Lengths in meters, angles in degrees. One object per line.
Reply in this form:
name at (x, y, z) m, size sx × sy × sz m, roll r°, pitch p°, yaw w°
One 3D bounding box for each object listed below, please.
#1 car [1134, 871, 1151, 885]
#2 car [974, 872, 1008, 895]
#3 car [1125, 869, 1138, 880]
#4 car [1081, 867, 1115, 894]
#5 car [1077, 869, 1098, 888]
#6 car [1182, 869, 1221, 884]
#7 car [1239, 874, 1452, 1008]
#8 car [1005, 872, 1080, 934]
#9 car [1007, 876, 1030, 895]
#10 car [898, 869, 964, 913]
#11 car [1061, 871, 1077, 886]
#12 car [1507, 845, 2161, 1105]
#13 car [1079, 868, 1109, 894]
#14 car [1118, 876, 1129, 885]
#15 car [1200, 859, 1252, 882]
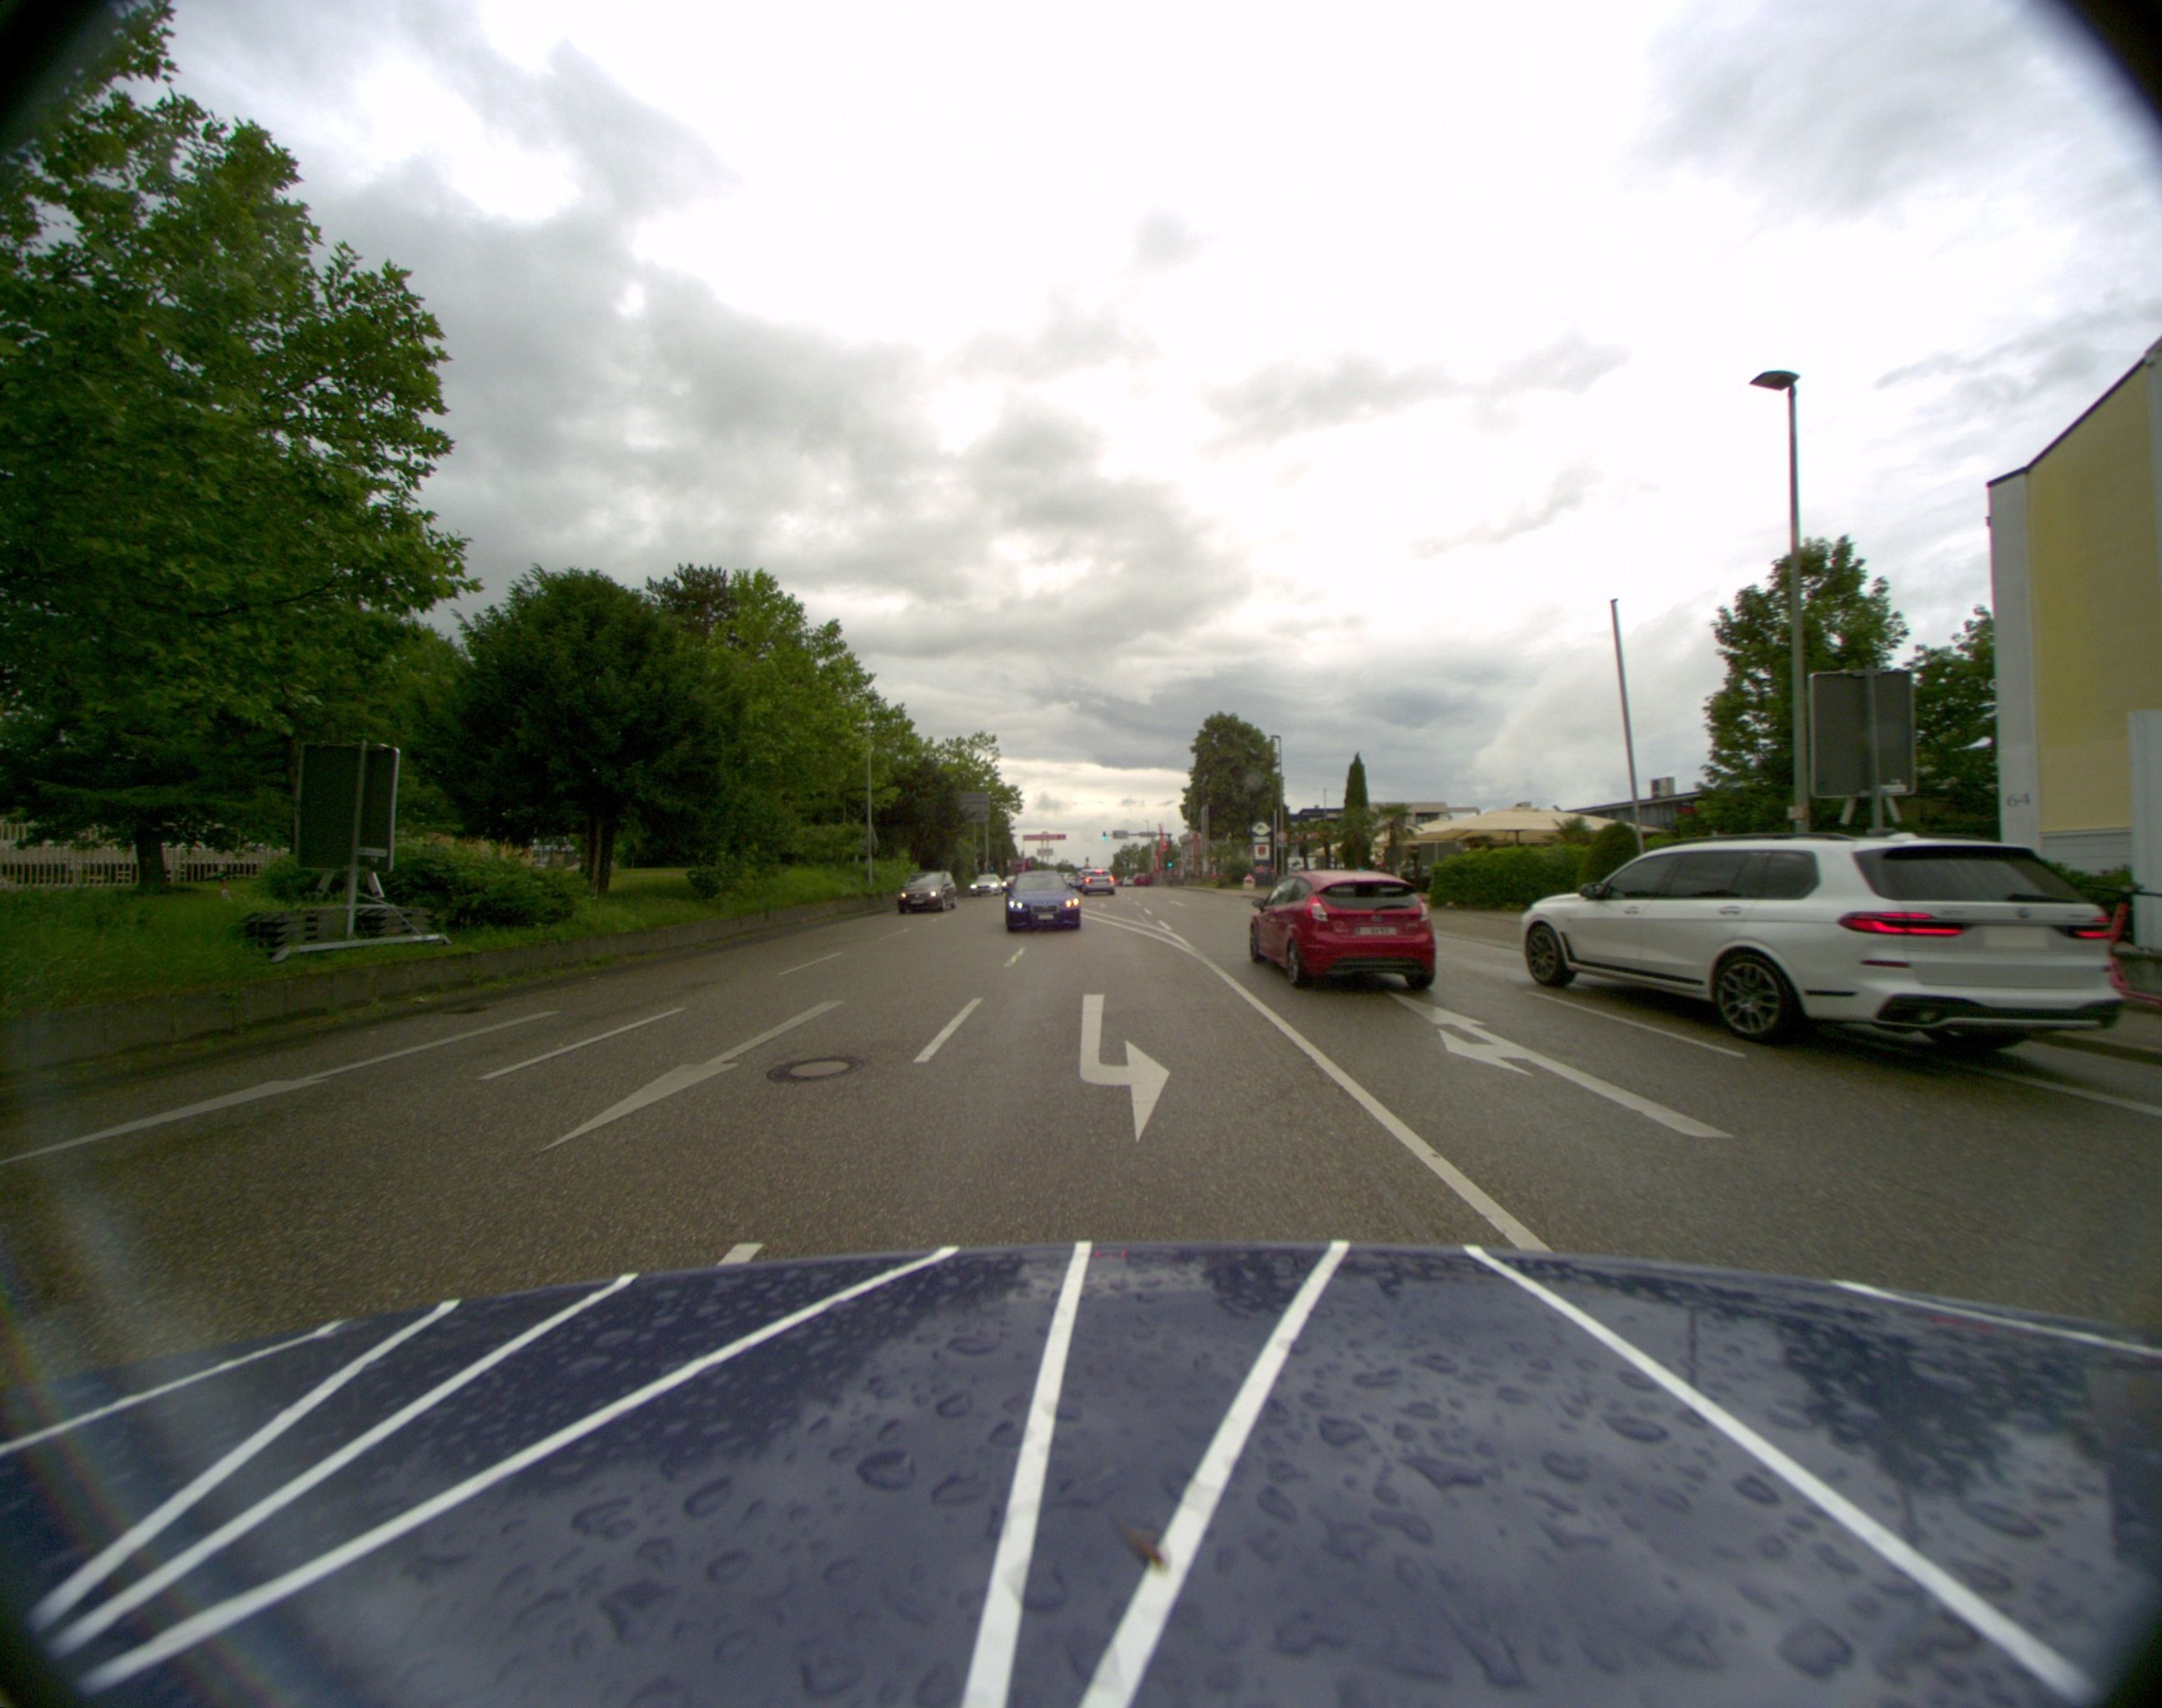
car at (7.034, 2.726, 86.965) m, size 1.641 × 1.524 × 3.972 m, roll 1°, pitch -1°, yaw 1°
car at (-6.188, 2.059, 52.666) m, size 1.784 × 1.447 × 4.681 m, roll -2°, pitch -2°, yaw 0°
car at (6.962, 2.763, 104.860) m, size 1.640 × 1.468 × 4.047 m, roll -1°, pitch -1°, yaw 6°
car at (0.962, 1.560, 45.412) m, size 1.754 × 1.499 × 4.301 m, roll 0°, pitch -1°, yaw -3°
car at (0.554, 1.964, 61.513) m, size 1.606 × 1.432 × 3.950 m, roll -2°, pitch -2°, yaw 0°
car at (12.292, 2.309, 77.669) m, size 3.608 × 1.495 × 1.669 m, roll 0°, pitch -1°, yaw 30°
car at (3.390, 1.034, 10.525) m, size 1.685 × 1.411 × 3.841 m, roll 1°, pitch 0°, yaw 2°
car at (-0.932, 1.264, 20.570) m, size 1.784 × 1.447 × 4.598 m, roll -2°, pitch -2°, yaw 0°
car at (-5.276, 2.655, 64.284) m, size 1.634 × 1.447 × 3.539 m, roll -2°, pitch -2°, yaw 0°
car at (-5.961, 1.475, 30.649) m, size 1.751 × 1.599 × 3.982 m, roll -2°, pitch -2°, yaw 2°
car at (-1.373, 2.882, 89.283) m, size 1.844 × 1.639 × 4.299 m, roll -1°, pitch -2°, yaw 0°
car at (6.764, 0.857, 7.849) m, size 1.922 × 1.752 × 5.144 m, roll 2°, pitch 0°, yaw 2°
car at (0.819, 1.739, 50.057) m, size 1.792 × 1.571 × 4.239 m, roll -1°, pitch -1°, yaw -1°
car at (6.582, 4.076, 118.245) m, size 1.626 × 1.323 × 3.948 m, roll 0°, pitch -2°, yaw 1°
car at (13.444, 1.565, 70.513) m, size 4.407 × 2.001 × 1.996 m, roll 2°, pitch -2°, yaw -27°
